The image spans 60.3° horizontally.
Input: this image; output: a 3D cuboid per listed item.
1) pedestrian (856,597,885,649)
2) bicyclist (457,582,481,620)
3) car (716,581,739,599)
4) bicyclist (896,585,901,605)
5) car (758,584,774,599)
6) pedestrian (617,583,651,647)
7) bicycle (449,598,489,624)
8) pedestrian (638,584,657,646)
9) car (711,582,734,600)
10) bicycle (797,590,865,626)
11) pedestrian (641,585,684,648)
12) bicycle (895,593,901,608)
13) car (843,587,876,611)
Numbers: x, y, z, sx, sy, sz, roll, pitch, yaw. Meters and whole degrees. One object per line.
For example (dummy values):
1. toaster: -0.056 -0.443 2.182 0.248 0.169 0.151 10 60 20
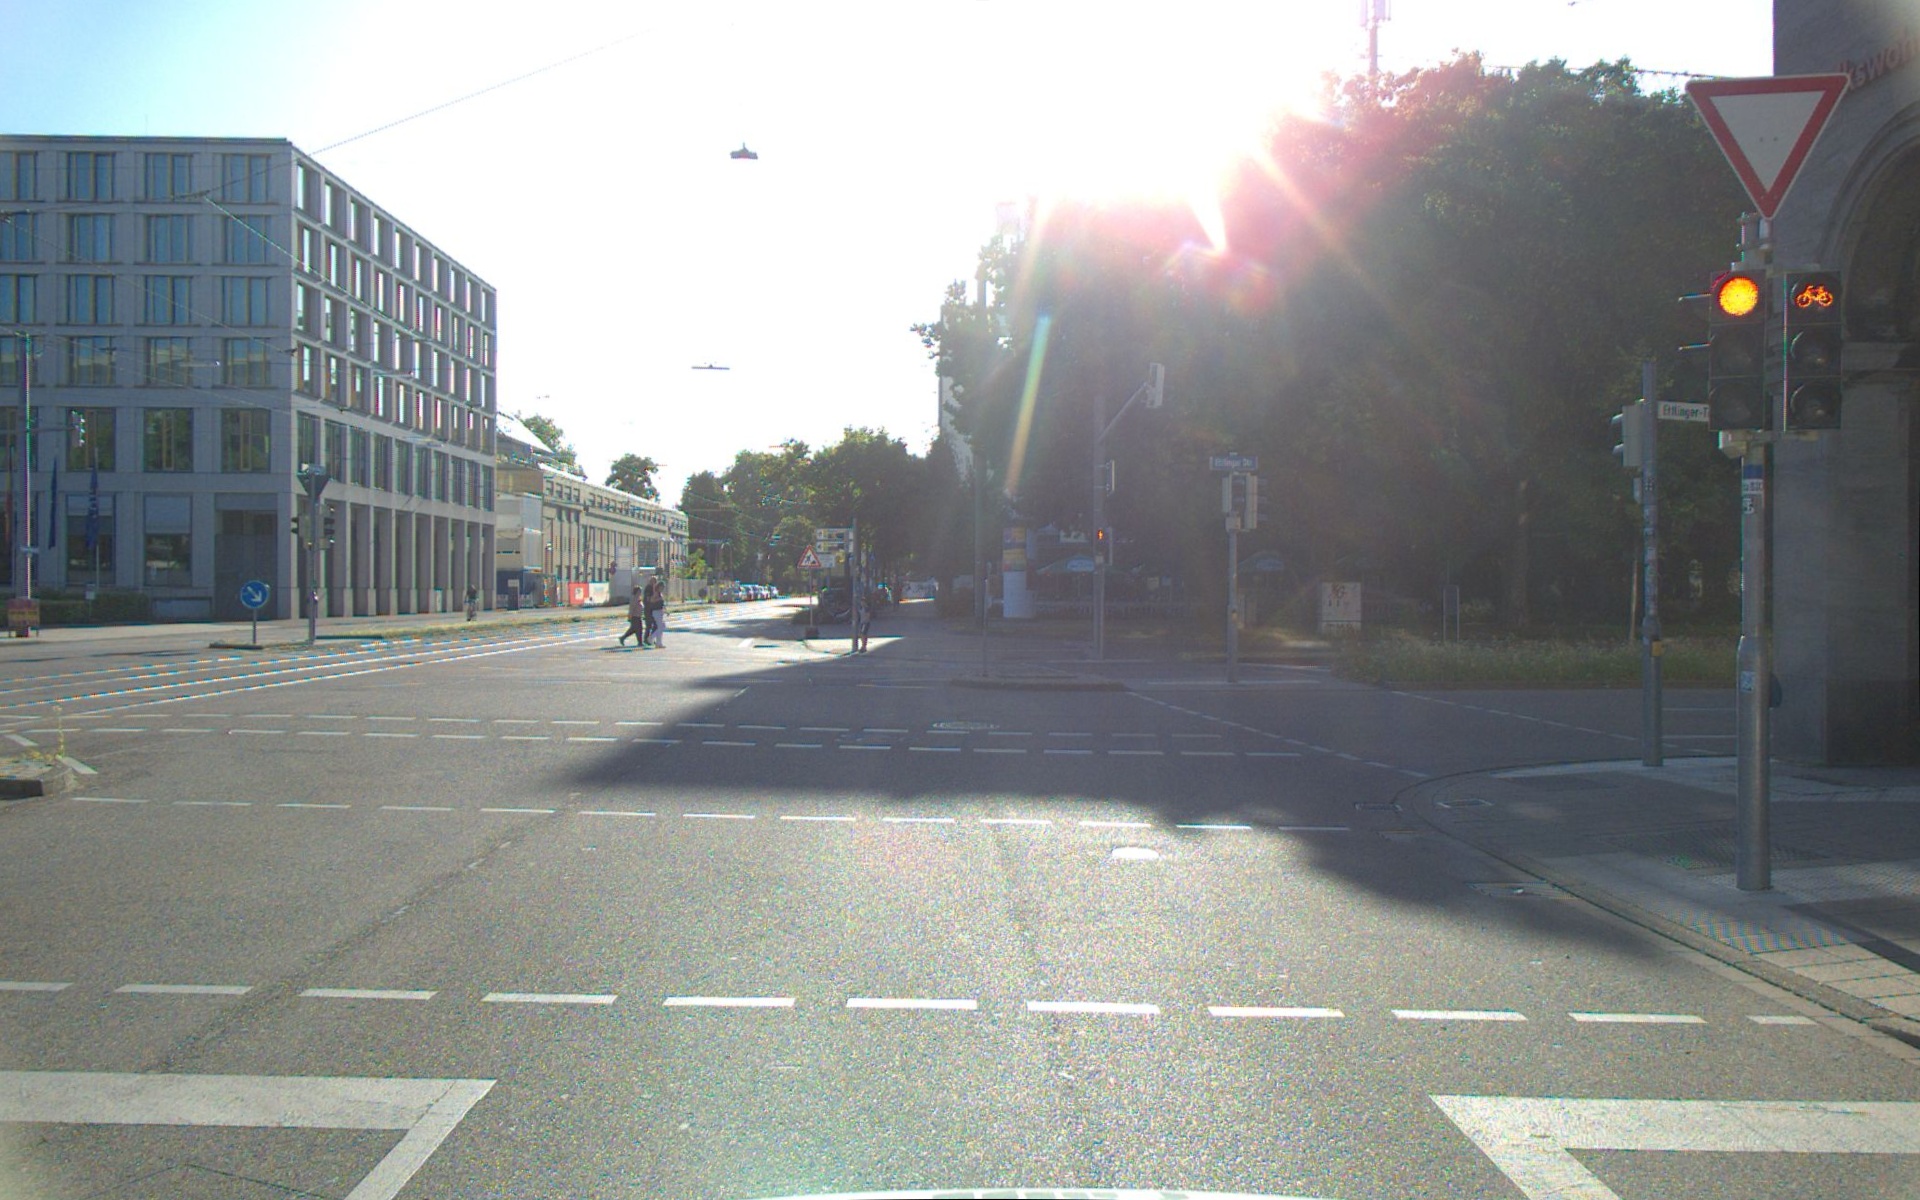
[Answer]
1. pedestrian: -2.387 0.608 44.222 0.737 1.356 0.742 0 0 0
2. bicyclist: -22.134 0.043 74.584 0.857 1.670 0.822 0 0 0
3. car: -22.429 -0.933 159.754 1.695 1.682 3.999 0 0 -1
4. bicyclist: -3.703 -0.305 99.221 0.312 1.147 0.291 0 0 -1
5. car: -22.635 -0.974 193.366 1.453 1.780 3.999 0 0 -1
6. pedestrian: -8.549 0.392 43.375 0.779 1.668 0.533 0 0 2
7. bicycle: -22.144 0.467 74.655 0.857 1.140 3.013 0 0 0
8. pedestrian: -8.470 0.405 44.781 0.432 1.692 0.376 0 0 -2
9. car: -22.326 -0.850 155.669 1.695 1.682 3.999 0 0 -1
10. bicycle: -5.226 0.334 67.050 2.688 1.391 0.631 1 -1 10
11. pedestrian: -7.711 0.426 42.867 0.964 1.615 0.660 0 -1 1
12. bicycle: -3.711 0.031 99.334 0.317 0.883 1.483 0 0 -1
13. car: -5.548 -0.055 91.409 1.783 1.301 3.998 0 0 -3
